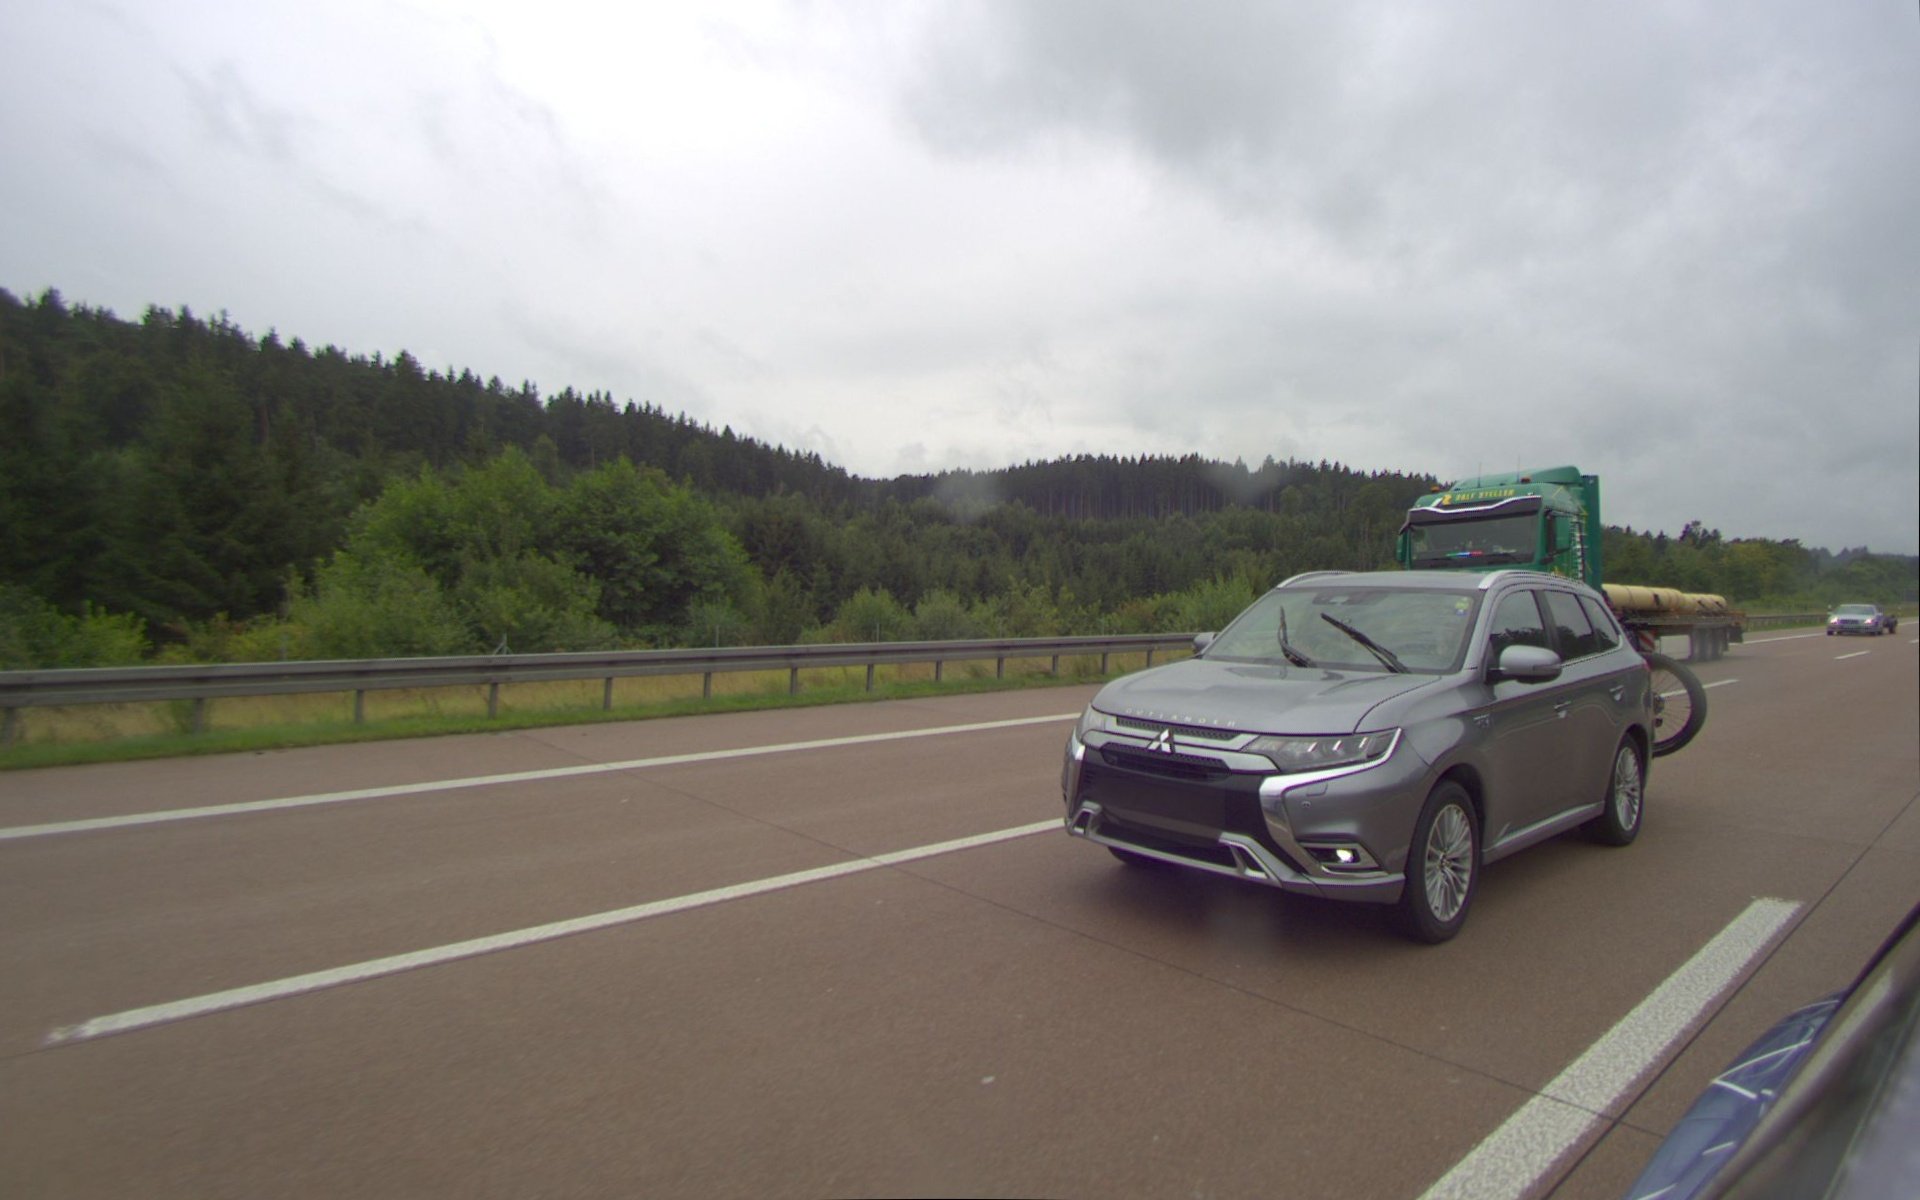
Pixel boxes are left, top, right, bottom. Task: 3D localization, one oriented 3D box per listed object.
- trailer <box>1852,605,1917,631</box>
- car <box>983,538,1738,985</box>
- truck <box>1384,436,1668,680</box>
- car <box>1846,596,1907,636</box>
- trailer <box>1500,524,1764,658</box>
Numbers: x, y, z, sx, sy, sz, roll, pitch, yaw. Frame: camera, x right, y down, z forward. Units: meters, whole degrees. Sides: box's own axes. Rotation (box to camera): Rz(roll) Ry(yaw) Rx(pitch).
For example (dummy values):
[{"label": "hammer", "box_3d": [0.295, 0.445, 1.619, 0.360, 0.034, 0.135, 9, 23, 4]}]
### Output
[{"label": "trailer", "box_3d": [45.251, 0.855, 49.481, 4.560, 1.181, 1.974, 0, 0, -43]}, {"label": "car", "box_3d": [2.919, 0.512, 6.299, 5.720, 1.612, 1.996, -2, 1, -41]}, {"label": "truck", "box_3d": [11.389, -0.775, 20.039, 6.871, 4.014, 2.900, -2, 1, -43]}, {"label": "car", "box_3d": [42.046, 0.675, 46.382, 4.894, 1.631, 1.700, -2, 2, -43]}, {"label": "trailer", "box_3d": [17.134, -0.314, 25.278, 11.206, 2.709, 2.885, -2, 1, -42]}]
